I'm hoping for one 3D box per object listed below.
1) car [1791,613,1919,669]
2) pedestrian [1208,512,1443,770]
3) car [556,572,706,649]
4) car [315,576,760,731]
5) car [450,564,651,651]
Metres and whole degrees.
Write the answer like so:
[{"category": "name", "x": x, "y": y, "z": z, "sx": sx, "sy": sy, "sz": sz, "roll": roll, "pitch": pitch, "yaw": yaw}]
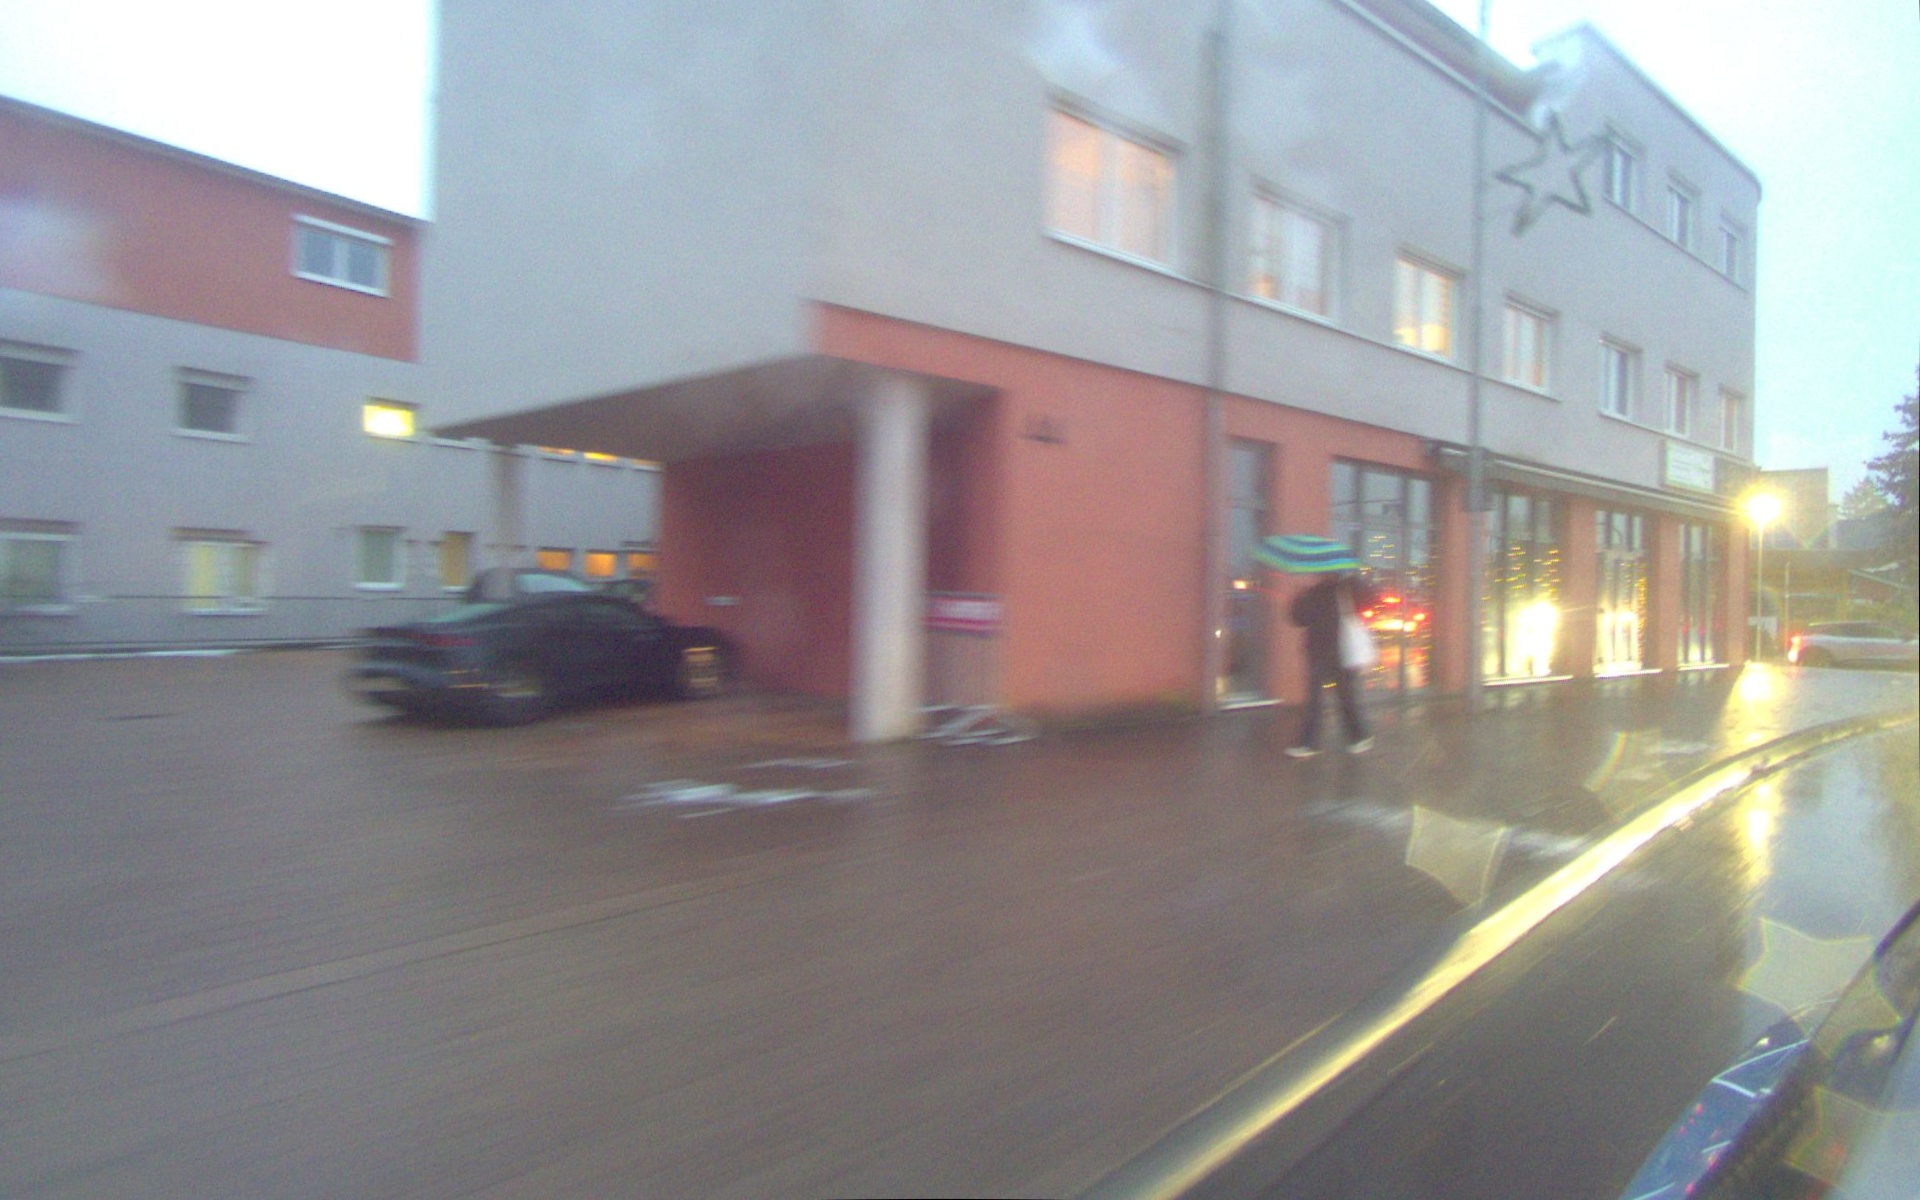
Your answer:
[{"category": "car", "x": 25.123, "y": 1.104, "z": 27.084, "sx": 1.765, "sy": 1.460, "sz": 4.177, "roll": 2, "pitch": -4, "yaw": -40}, {"category": "pedestrian", "x": 2.983, "y": 0.278, "z": 8.302, "sx": 1.279, "sy": 1.889, "sz": 1.259, "roll": 1, "pitch": 2, "yaw": -37}, {"category": "car", "x": -7.621, "y": 0.197, "z": 23.319, "sx": 3.742, "sy": 1.588, "sz": 1.687, "roll": 2, "pitch": 1, "yaw": 43}, {"category": "car", "x": -4.250, "y": 0.399, "z": 10.847, "sx": 1.866, "sy": 1.274, "sz": 4.124, "roll": 1, "pitch": 2, "yaw": 32}, {"category": "car", "x": -8.127, "y": 0.071, "z": 19.861, "sx": 4.708, "sy": 1.483, "sz": 1.844, "roll": 2, "pitch": 1, "yaw": 43}]
